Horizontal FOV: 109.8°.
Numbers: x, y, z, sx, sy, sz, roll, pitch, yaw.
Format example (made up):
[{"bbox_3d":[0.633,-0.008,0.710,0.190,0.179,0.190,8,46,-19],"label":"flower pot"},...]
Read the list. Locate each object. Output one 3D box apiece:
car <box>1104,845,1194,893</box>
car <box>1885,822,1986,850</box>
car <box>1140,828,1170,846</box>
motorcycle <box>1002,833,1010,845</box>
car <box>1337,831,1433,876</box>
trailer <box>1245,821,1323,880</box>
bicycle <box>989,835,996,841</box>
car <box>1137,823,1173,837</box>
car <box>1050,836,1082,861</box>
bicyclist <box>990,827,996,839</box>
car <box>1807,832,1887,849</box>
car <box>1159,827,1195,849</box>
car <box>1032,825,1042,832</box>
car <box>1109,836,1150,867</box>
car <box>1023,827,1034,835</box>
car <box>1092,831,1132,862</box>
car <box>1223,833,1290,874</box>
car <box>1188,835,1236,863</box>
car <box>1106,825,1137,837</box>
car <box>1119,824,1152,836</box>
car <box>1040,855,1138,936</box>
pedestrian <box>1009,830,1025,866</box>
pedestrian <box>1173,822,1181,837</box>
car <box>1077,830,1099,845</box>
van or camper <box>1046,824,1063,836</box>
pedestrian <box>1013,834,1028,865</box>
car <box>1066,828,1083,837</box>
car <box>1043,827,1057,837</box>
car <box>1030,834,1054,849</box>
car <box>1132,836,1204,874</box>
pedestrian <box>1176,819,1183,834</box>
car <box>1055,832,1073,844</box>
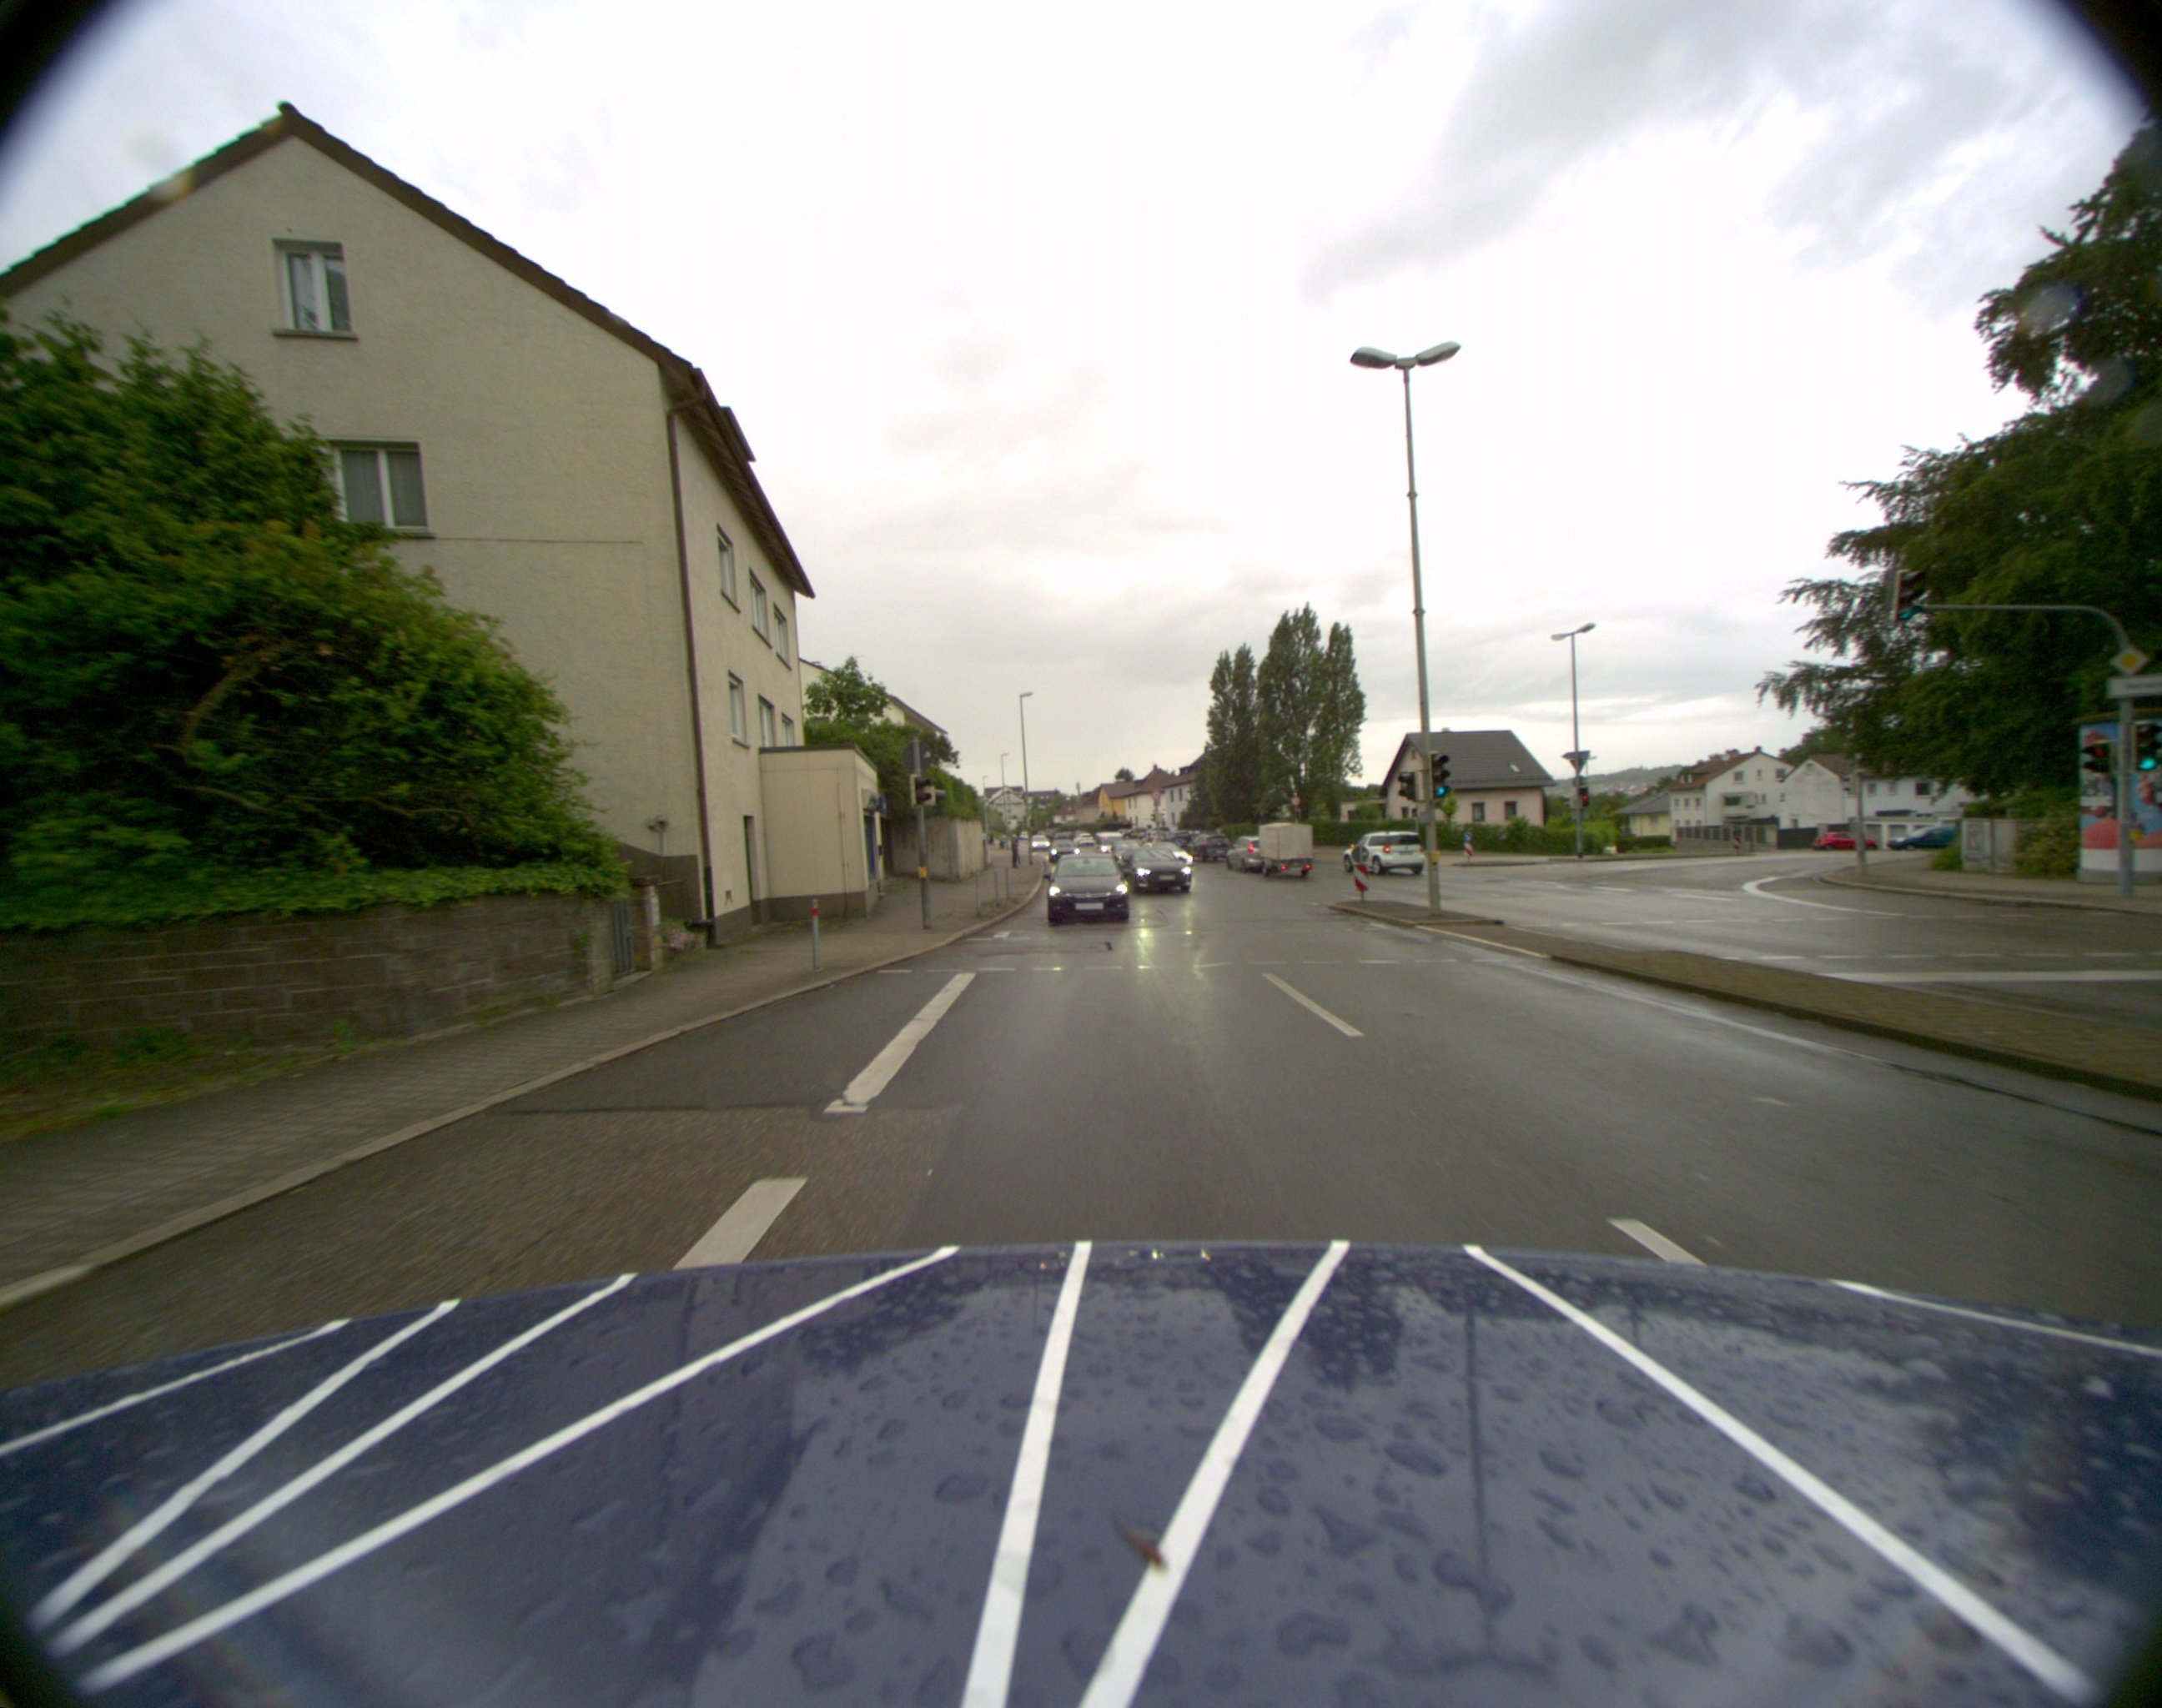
[{"bbox_3d":[2.187,0.448,25.879,1.912,1.390,4.852,-2,1,-9],"label":"car"},{"bbox_3d":[58.055,-1.211,51.726,4.082,1.839,1.942,0,2,28],"label":"car"},{"bbox_3d":[6.954,-1.660,71.899,1.810,1.560,4.137,-2,3,-9],"label":"car"},{"bbox_3d":[-8.441,-1.718,85.803,0.694,1.317,2.476,-2,3,-10],"label":"motorcycle"},{"bbox_3d":[12.113,-0.091,30.601,1.829,1.648,4.463,-1,2,-4],"label":"car"},{"bbox_3d":[8.162,-0.178,30.886,1.901,2.167,4.033,-2,2,-2],"label":"trailer"},{"bbox_3d":[-12.605,-2.321,108.697,0.733,0.822,2.233,-1,2,1],"label":"bicycle"},{"bbox_3d":[9.113,-2.994,94.066,4.000,1.412,1.882,-5,3,-9],"label":"car"},{"bbox_3d":[-1.052,-0.346,51.170,1.841,1.448,3.999,-2,-1,-5],"label":"car"},{"bbox_3d":[-12.579,-3.017,108.638,0.809,1.633,0.905,-1,3,0],"label":"bicyclist"},{"bbox_3d":[60.655,-1.100,60.260,4.083,1.281,1.911,0,2,25],"label":"car"},{"bbox_3d":[8.239,-1.430,65.524,1.810,1.660,4.592,-2,3,-9],"label":"car"},{"bbox_3d":[-11.274,-6.446,193.599,2.000,1.565,3.995,-2,3,-9],"label":"car"},{"bbox_3d":[2.674,-0.183,42.821,1.840,1.479,4.056,-2,3,-3],"label":"car"},{"bbox_3d":[-10.648,-4.684,153.661,1.838,1.522,3.995,-2,3,-9],"label":"car"},{"bbox_3d":[1.992,-0.520,50.002,1.957,1.861,4.741,-2,3,-6],"label":"car"},{"bbox_3d":[8.021,-0.082,35.142,1.904,1.674,4.476,-2,3,-2],"label":"car"},{"bbox_3d":[7.761,-0.346,45.351,1.846,1.543,4.380,-1,2,-4],"label":"car"},{"bbox_3d":[5.852,-3.323,109.691,4.115,1.475,1.837,1,1,-16],"label":"car"},{"bbox_3d":[7.416,-3.254,103.998,4.112,1.412,1.882,-4,3,-9],"label":"car"},{"bbox_3d":[0.301,0.797,16.395,1.840,1.390,4.000,-1,1,4],"label":"car"},{"bbox_3d":[-3.614,-0.339,42.920,0.799,2.003,0.734,-2,3,-3],"label":"pedestrian"},{"bbox_3d":[11.177,-2.853,88.544,0.670,1.779,0.539,-6,4,-5],"label":"pedestrian"},{"bbox_3d":[0.737,-1.877,86.595,1.841,1.548,4.765,-2,3,-7],"label":"car"},{"bbox_3d":[-4.843,-4.376,138.777,2.191,2.003,5.127,-2,3,-10],"label":"van or camper"},{"bbox_3d":[-3.572,-0.252,44.729,0.796,1.771,1.011,-1,3,-3],"label":"pedestrian"},{"bbox_3d":[-0.999,-3.337,118.282,1.811,1.408,3.994,-2,3,-12],"label":"car"},{"bbox_3d":[-4.793,-3.422,117.207,1.717,1.494,3.995,-3,3,-10],"label":"car"},{"bbox_3d":[-3.975,-1.257,76.756,1.842,1.473,3.995,-2,1,-11],"label":"car"},{"bbox_3d":[4.056,-0.014,36.231,1.915,1.520,4.644,-3,3,-13],"label":"car"},{"bbox_3d":[11.808,-3.256,90.764,0.652,1.777,0.647,-4,2,15],"label":"pedestrian"},{"bbox_3d":[-2.320,-2.225,103.832,1.859,1.456,3.995,-3,2,-10],"label":"car"}]
